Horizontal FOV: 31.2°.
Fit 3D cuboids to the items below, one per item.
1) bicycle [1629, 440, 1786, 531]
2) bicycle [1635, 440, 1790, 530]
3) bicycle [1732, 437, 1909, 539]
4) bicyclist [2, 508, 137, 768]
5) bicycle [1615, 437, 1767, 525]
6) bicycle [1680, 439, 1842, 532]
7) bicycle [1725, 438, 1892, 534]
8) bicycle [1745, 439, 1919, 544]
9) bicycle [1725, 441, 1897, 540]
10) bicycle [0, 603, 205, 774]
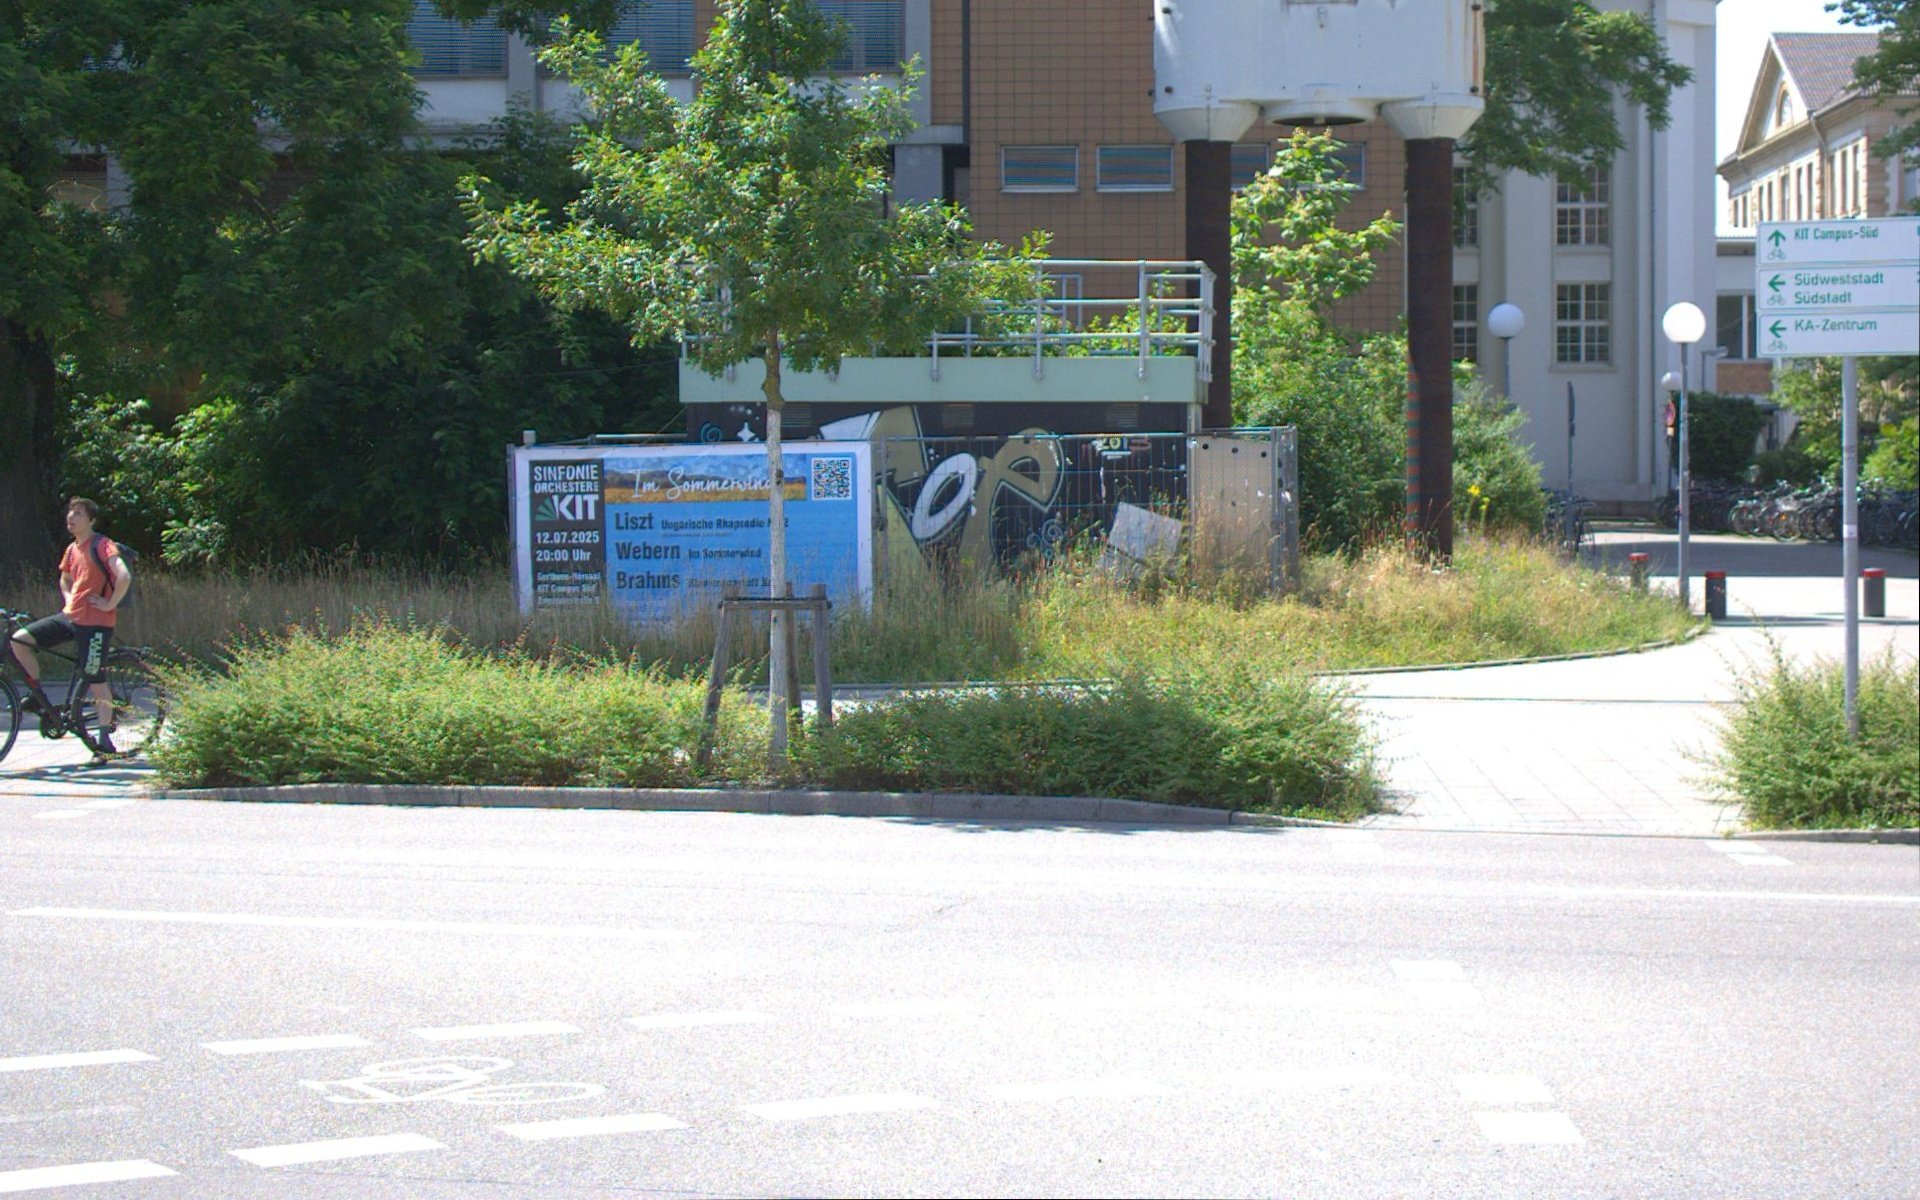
[{"bbox_3d":[17.470,-2.684,80.381,3.448,2.006,0.760,2,2,6],"label":"bicycle"},{"bbox_3d":[17.801,-2.730,81.392,3.448,2.006,0.760,2,2,6],"label":"bicycle"},{"bbox_3d":[18.035,-2.347,72.140,3.448,2.006,0.760,2,2,6],"label":"bicycle"},{"bbox_3d":[-6.045,0.241,23.353,0.551,1.709,0.701,4,5,45],"label":"bicyclist"},{"bbox_3d":[17.579,-2.870,82.715,3.448,2.006,0.760,2,2,6],"label":"bicycle"},{"bbox_3d":[18.222,-2.608,78.274,3.448,2.006,0.760,2,2,6],"label":"bicycle"},{"bbox_3d":[18.829,-2.526,76.342,3.448,2.006,0.760,2,2,6],"label":"bicycle"},{"bbox_3d":[17.740,-2.206,69.651,3.448,2.006,0.760,2,2,6],"label":"bicycle"},{"bbox_3d":[18.349,-2.376,74.170,3.448,2.006,0.760,2,2,6],"label":"bicycle"},{"bbox_3d":[-6.133,0.593,23.295,1.992,1.041,0.558,-3,5,-44],"label":"bicycle"}]
